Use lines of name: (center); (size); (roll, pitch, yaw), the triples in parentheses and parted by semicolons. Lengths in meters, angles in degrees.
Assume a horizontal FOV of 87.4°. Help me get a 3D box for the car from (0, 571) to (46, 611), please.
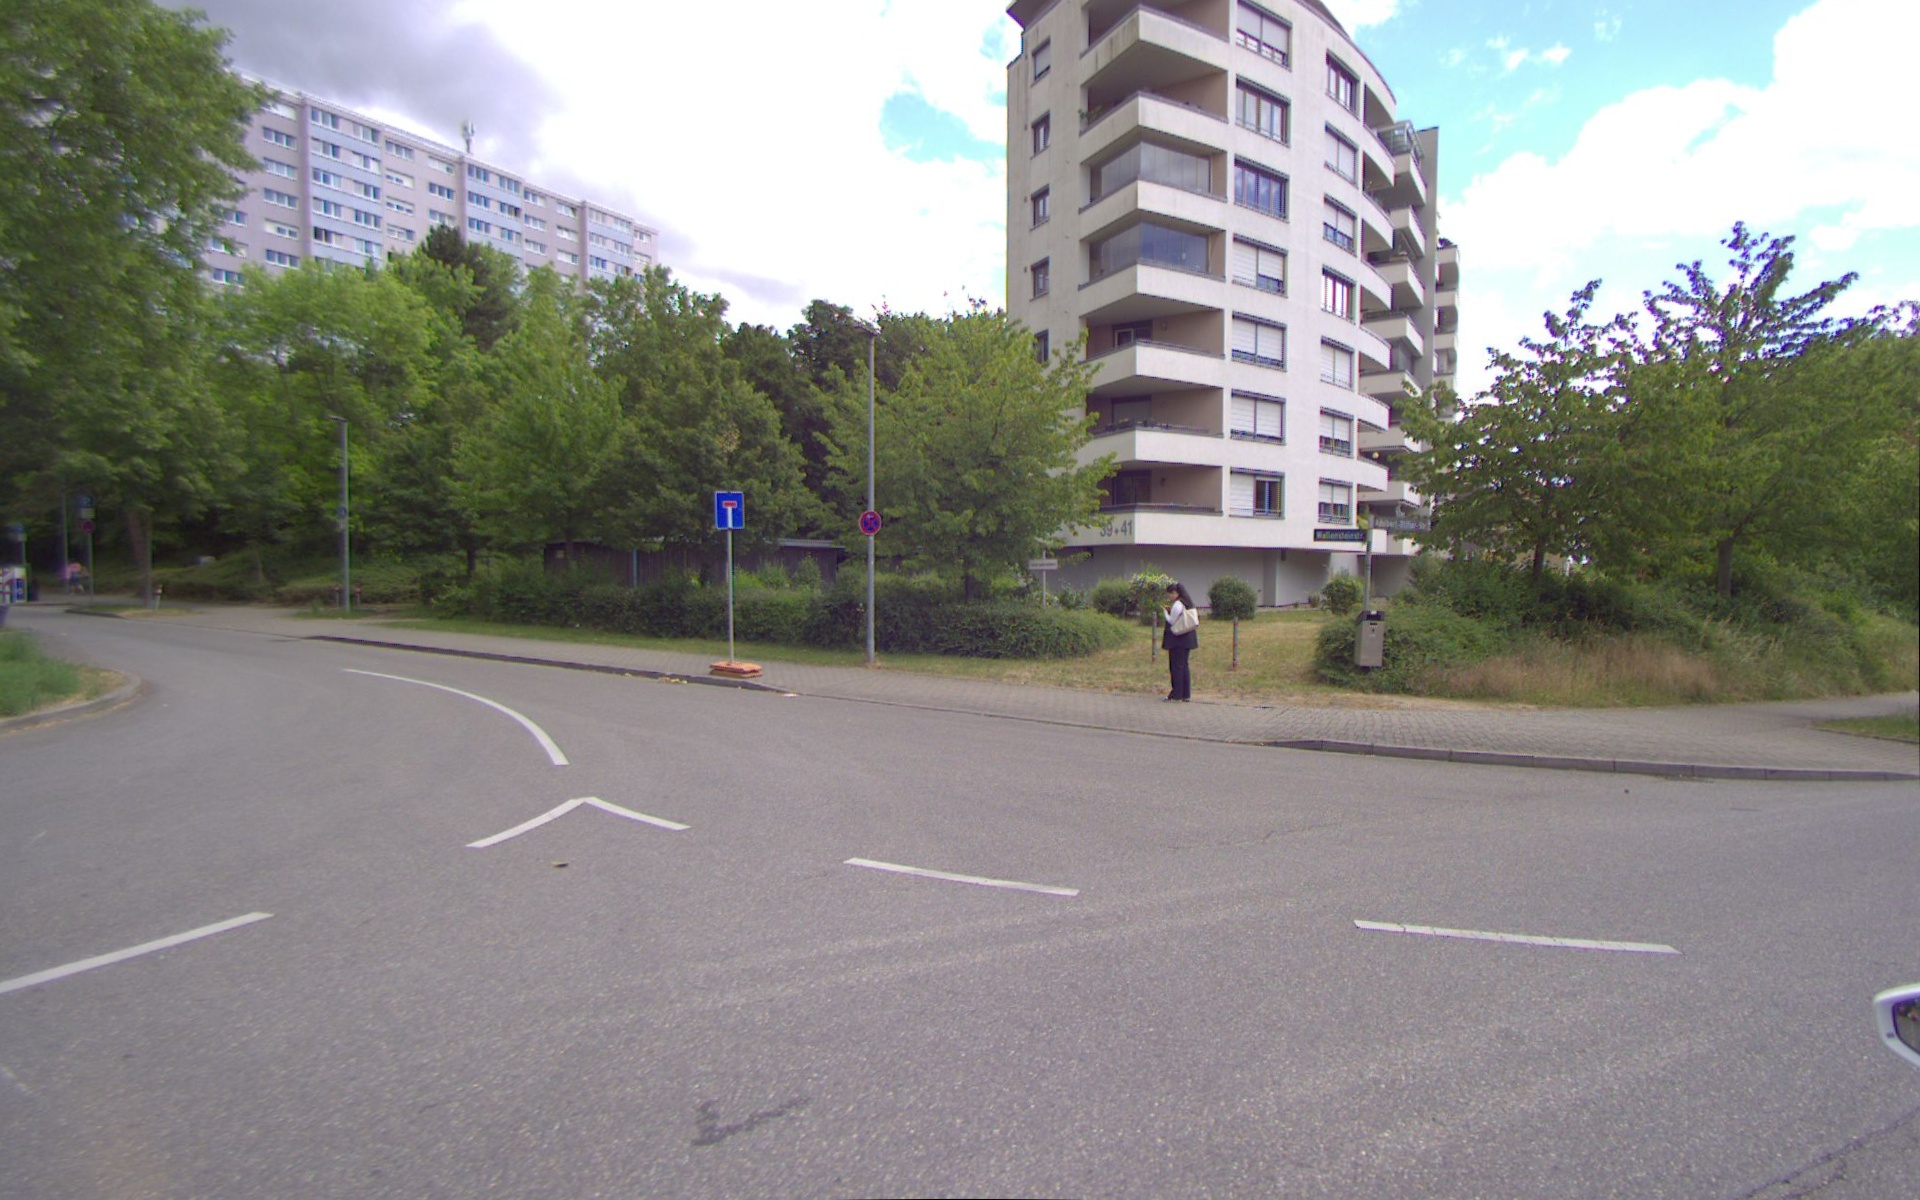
car: (-37.588, -0.397, 39.340); (3.611, 1.506, 1.777); (2, 0, 32)

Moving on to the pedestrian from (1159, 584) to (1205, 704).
pedestrian: (3.145, 0.602, 14.225); (0.621, 1.633, 0.720); (0, 2, 13)

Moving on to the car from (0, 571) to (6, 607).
car: (-42.102, -0.507, 42.452); (3.611, 1.506, 1.777); (2, 0, 32)
